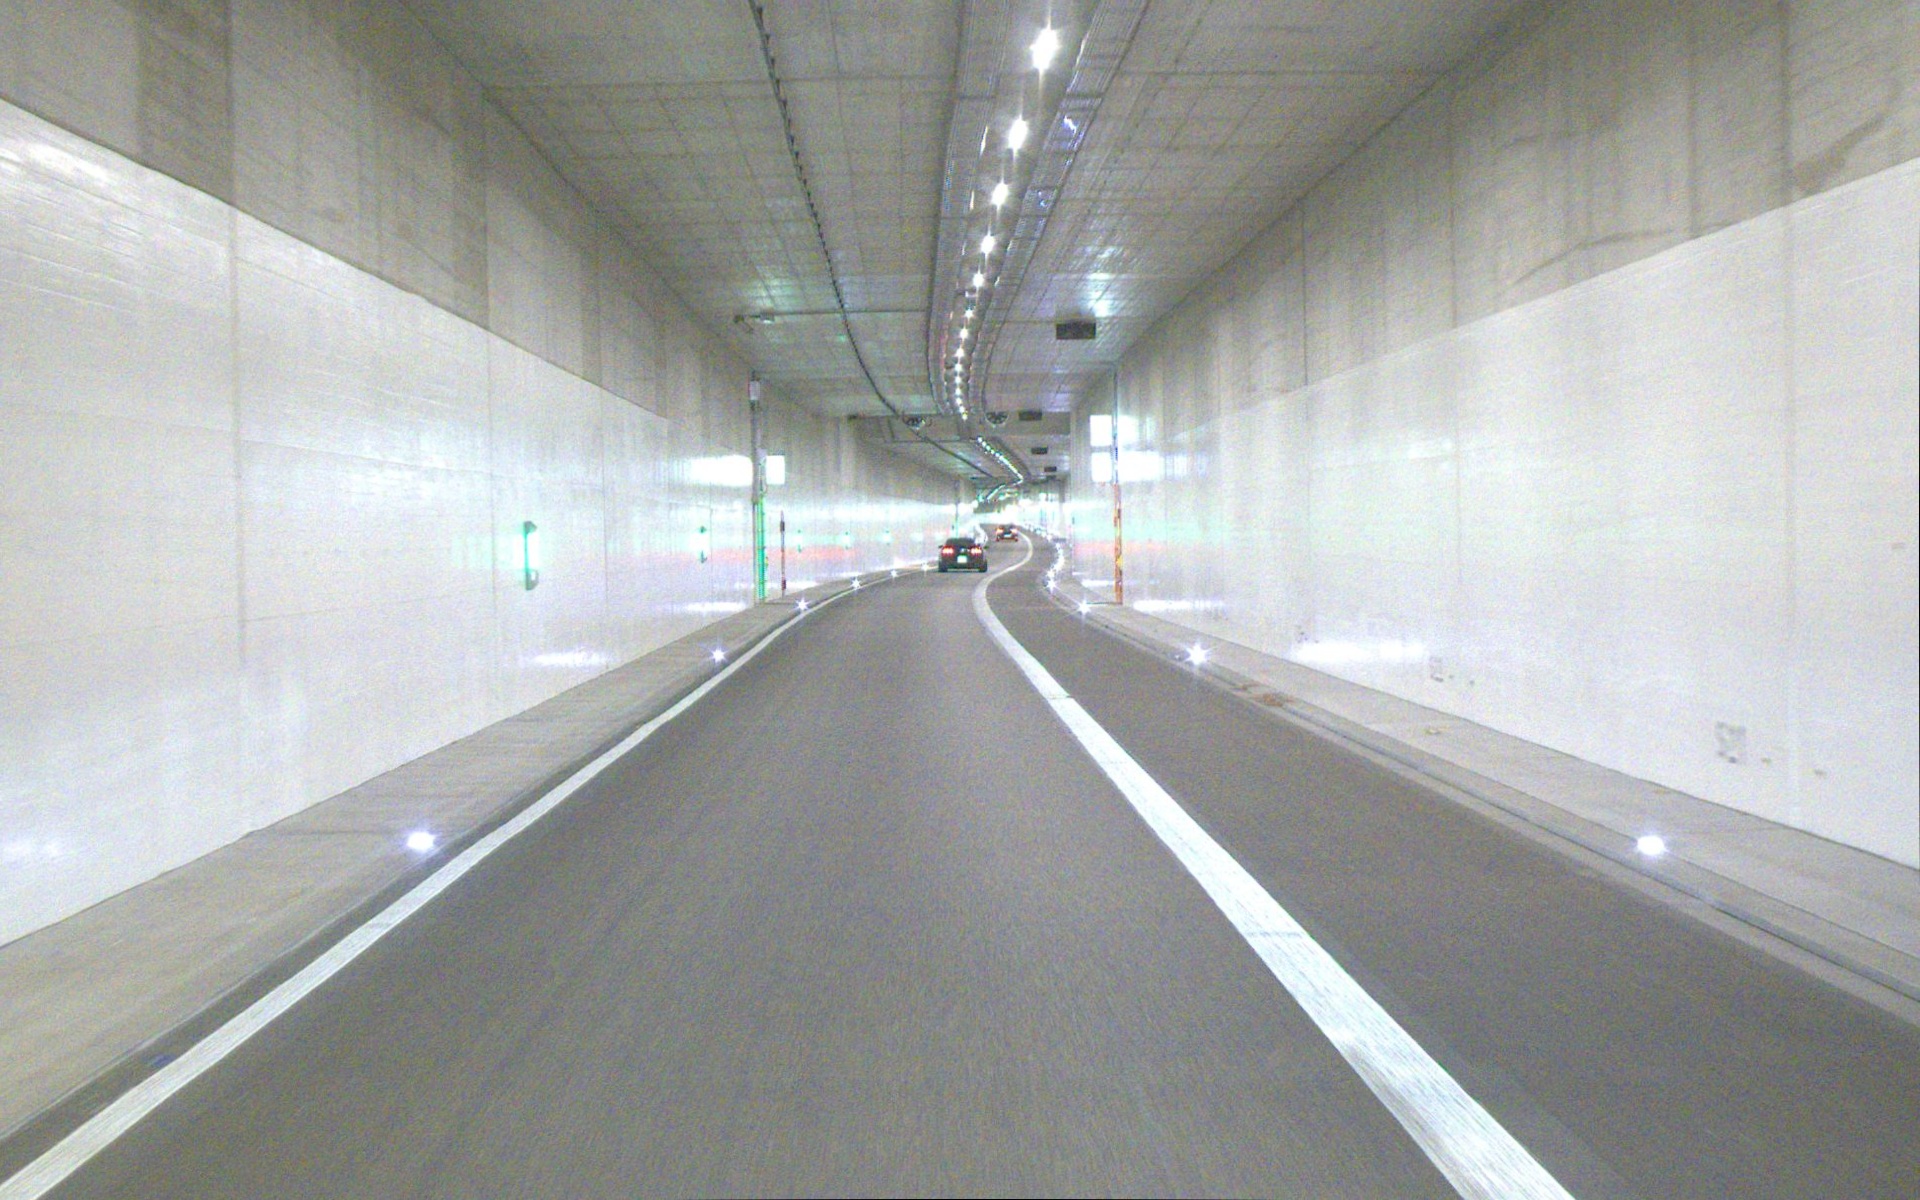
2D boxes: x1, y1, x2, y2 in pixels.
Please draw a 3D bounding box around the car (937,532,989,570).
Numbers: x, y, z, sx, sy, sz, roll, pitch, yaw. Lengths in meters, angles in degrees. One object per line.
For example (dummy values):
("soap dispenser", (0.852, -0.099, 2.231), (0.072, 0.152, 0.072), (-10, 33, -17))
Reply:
("car", (0.108, -1.937, 136.225), (1.993, 1.415, 4.000), (2, 1, 0))
